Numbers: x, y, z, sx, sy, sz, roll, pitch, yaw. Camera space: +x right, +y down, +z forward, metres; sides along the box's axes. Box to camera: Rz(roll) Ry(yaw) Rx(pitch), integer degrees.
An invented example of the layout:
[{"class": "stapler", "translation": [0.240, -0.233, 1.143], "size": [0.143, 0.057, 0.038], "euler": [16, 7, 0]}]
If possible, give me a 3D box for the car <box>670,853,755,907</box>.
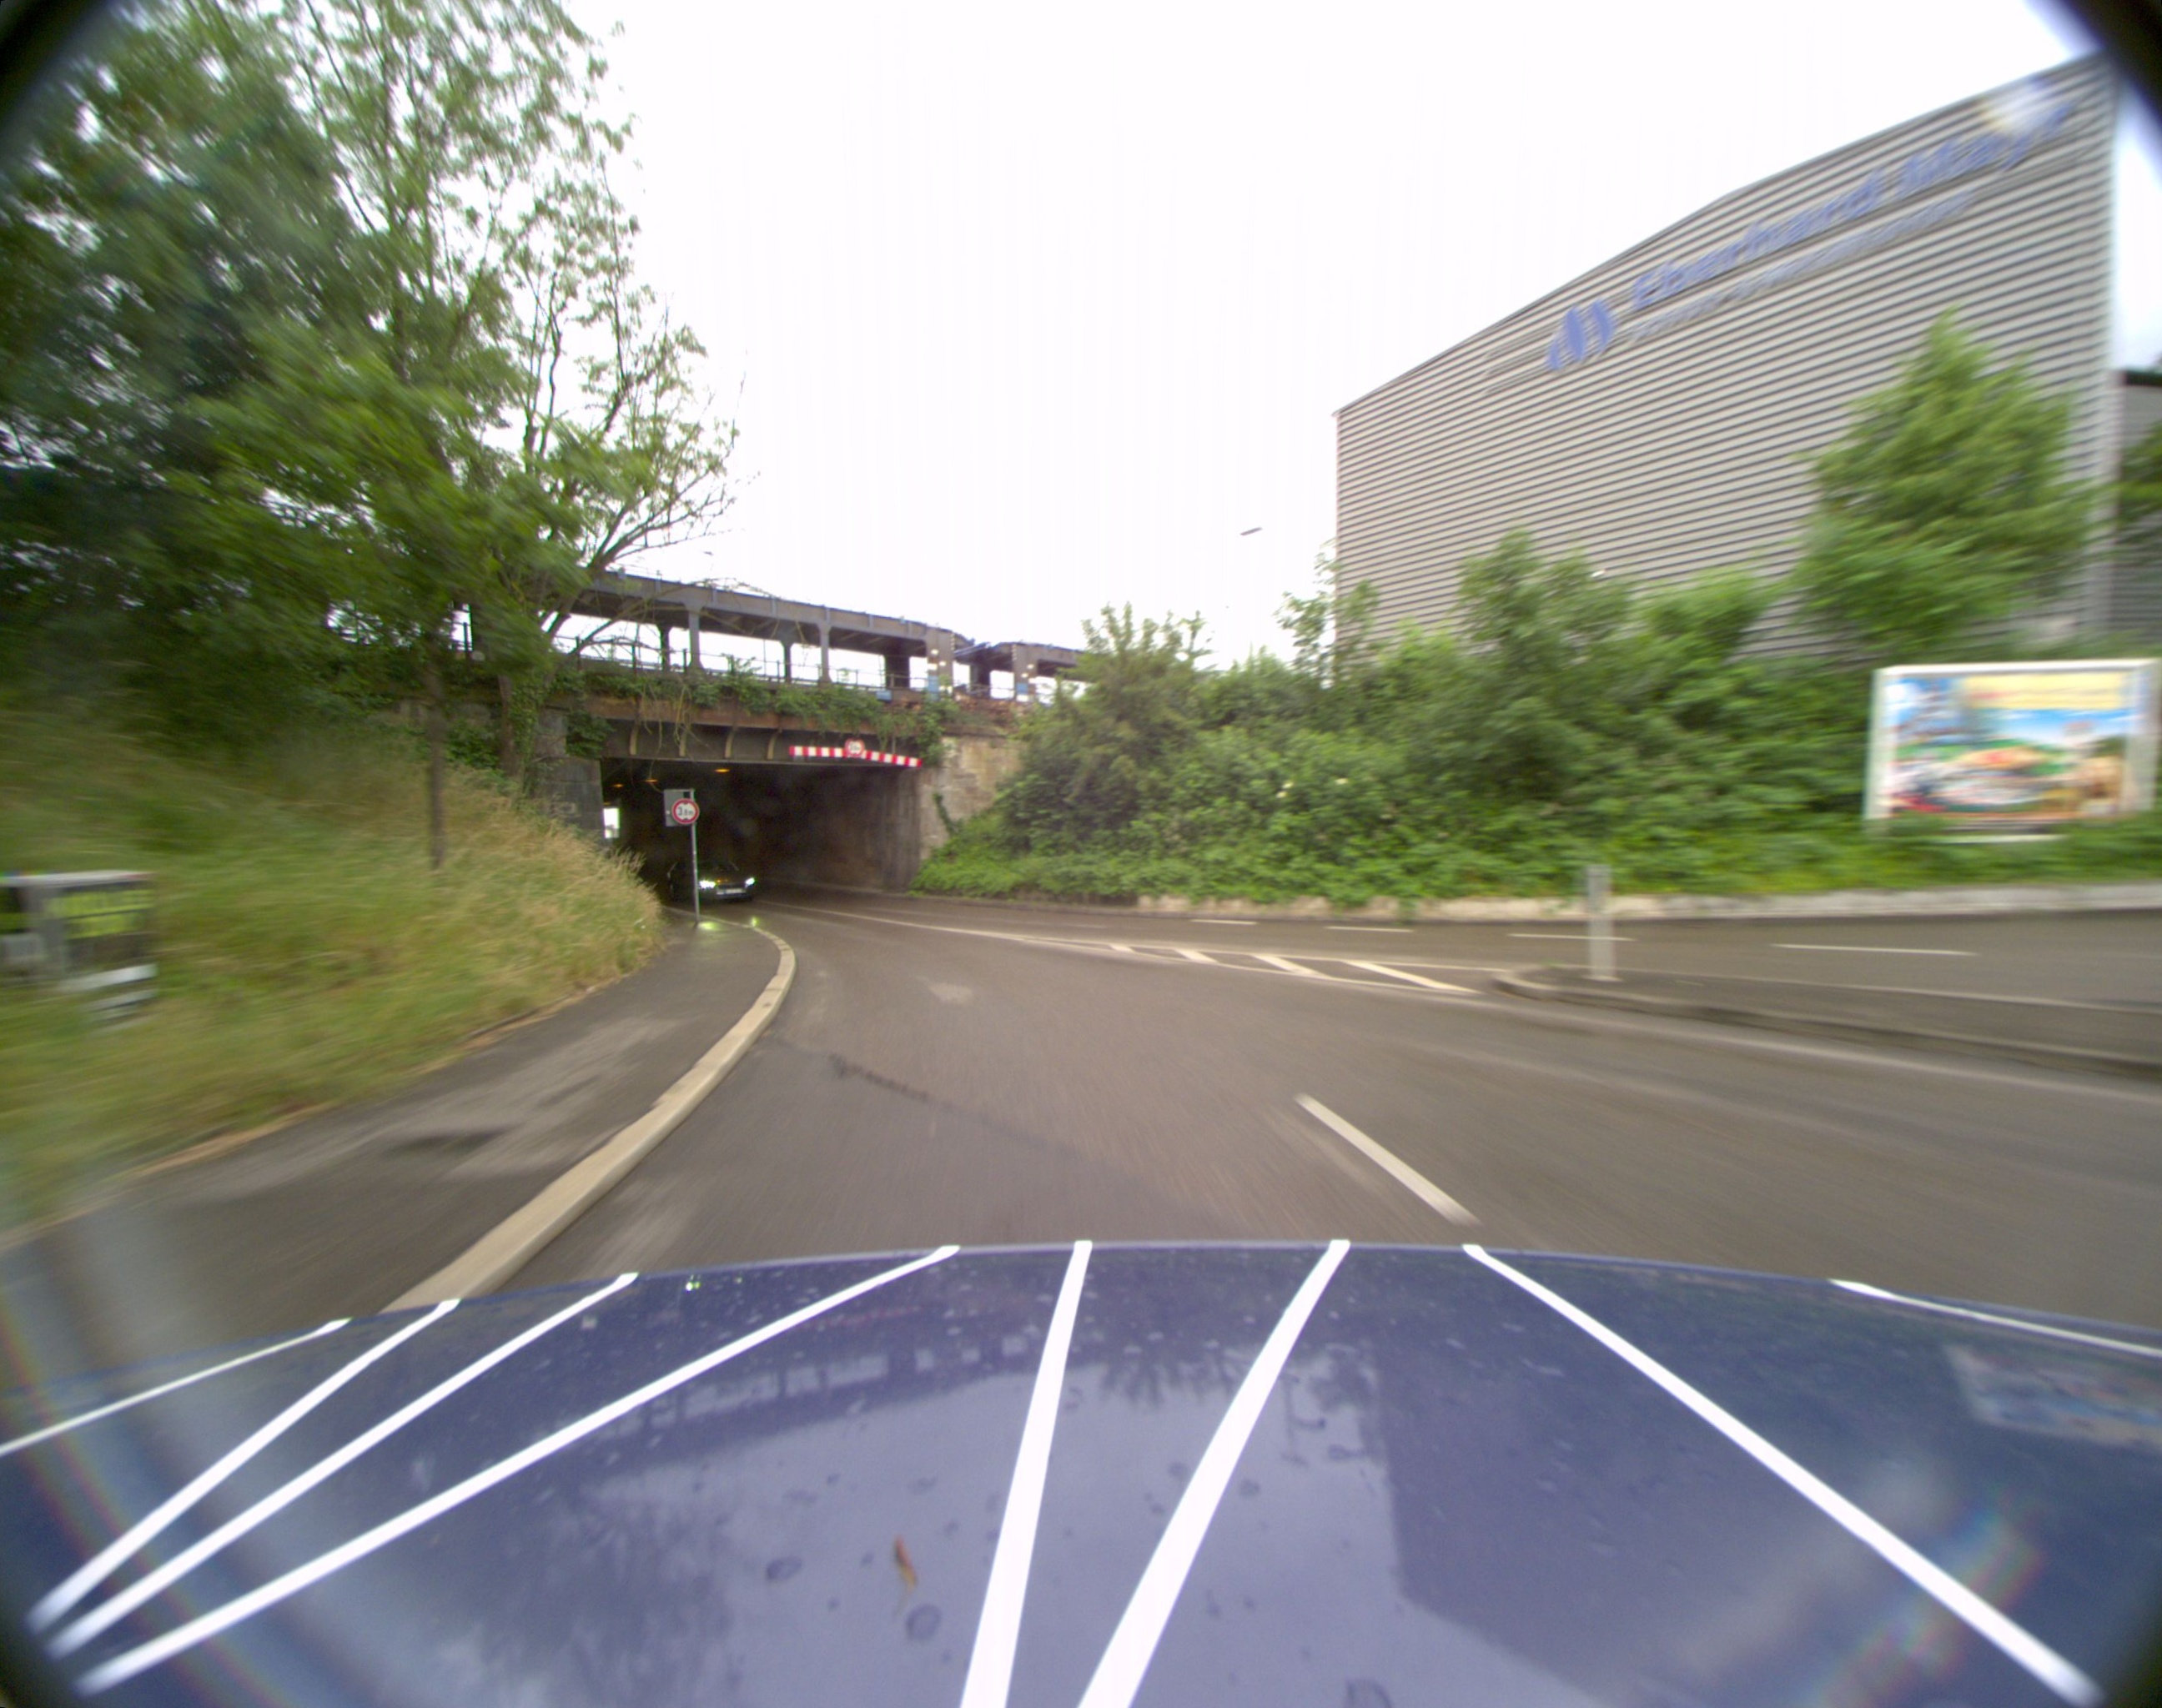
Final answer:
[{"class": "car", "translation": [-12.387, 0.794, 25.429], "size": [1.815, 1.509, 4.040], "euler": [-2, 3, -37]}]
